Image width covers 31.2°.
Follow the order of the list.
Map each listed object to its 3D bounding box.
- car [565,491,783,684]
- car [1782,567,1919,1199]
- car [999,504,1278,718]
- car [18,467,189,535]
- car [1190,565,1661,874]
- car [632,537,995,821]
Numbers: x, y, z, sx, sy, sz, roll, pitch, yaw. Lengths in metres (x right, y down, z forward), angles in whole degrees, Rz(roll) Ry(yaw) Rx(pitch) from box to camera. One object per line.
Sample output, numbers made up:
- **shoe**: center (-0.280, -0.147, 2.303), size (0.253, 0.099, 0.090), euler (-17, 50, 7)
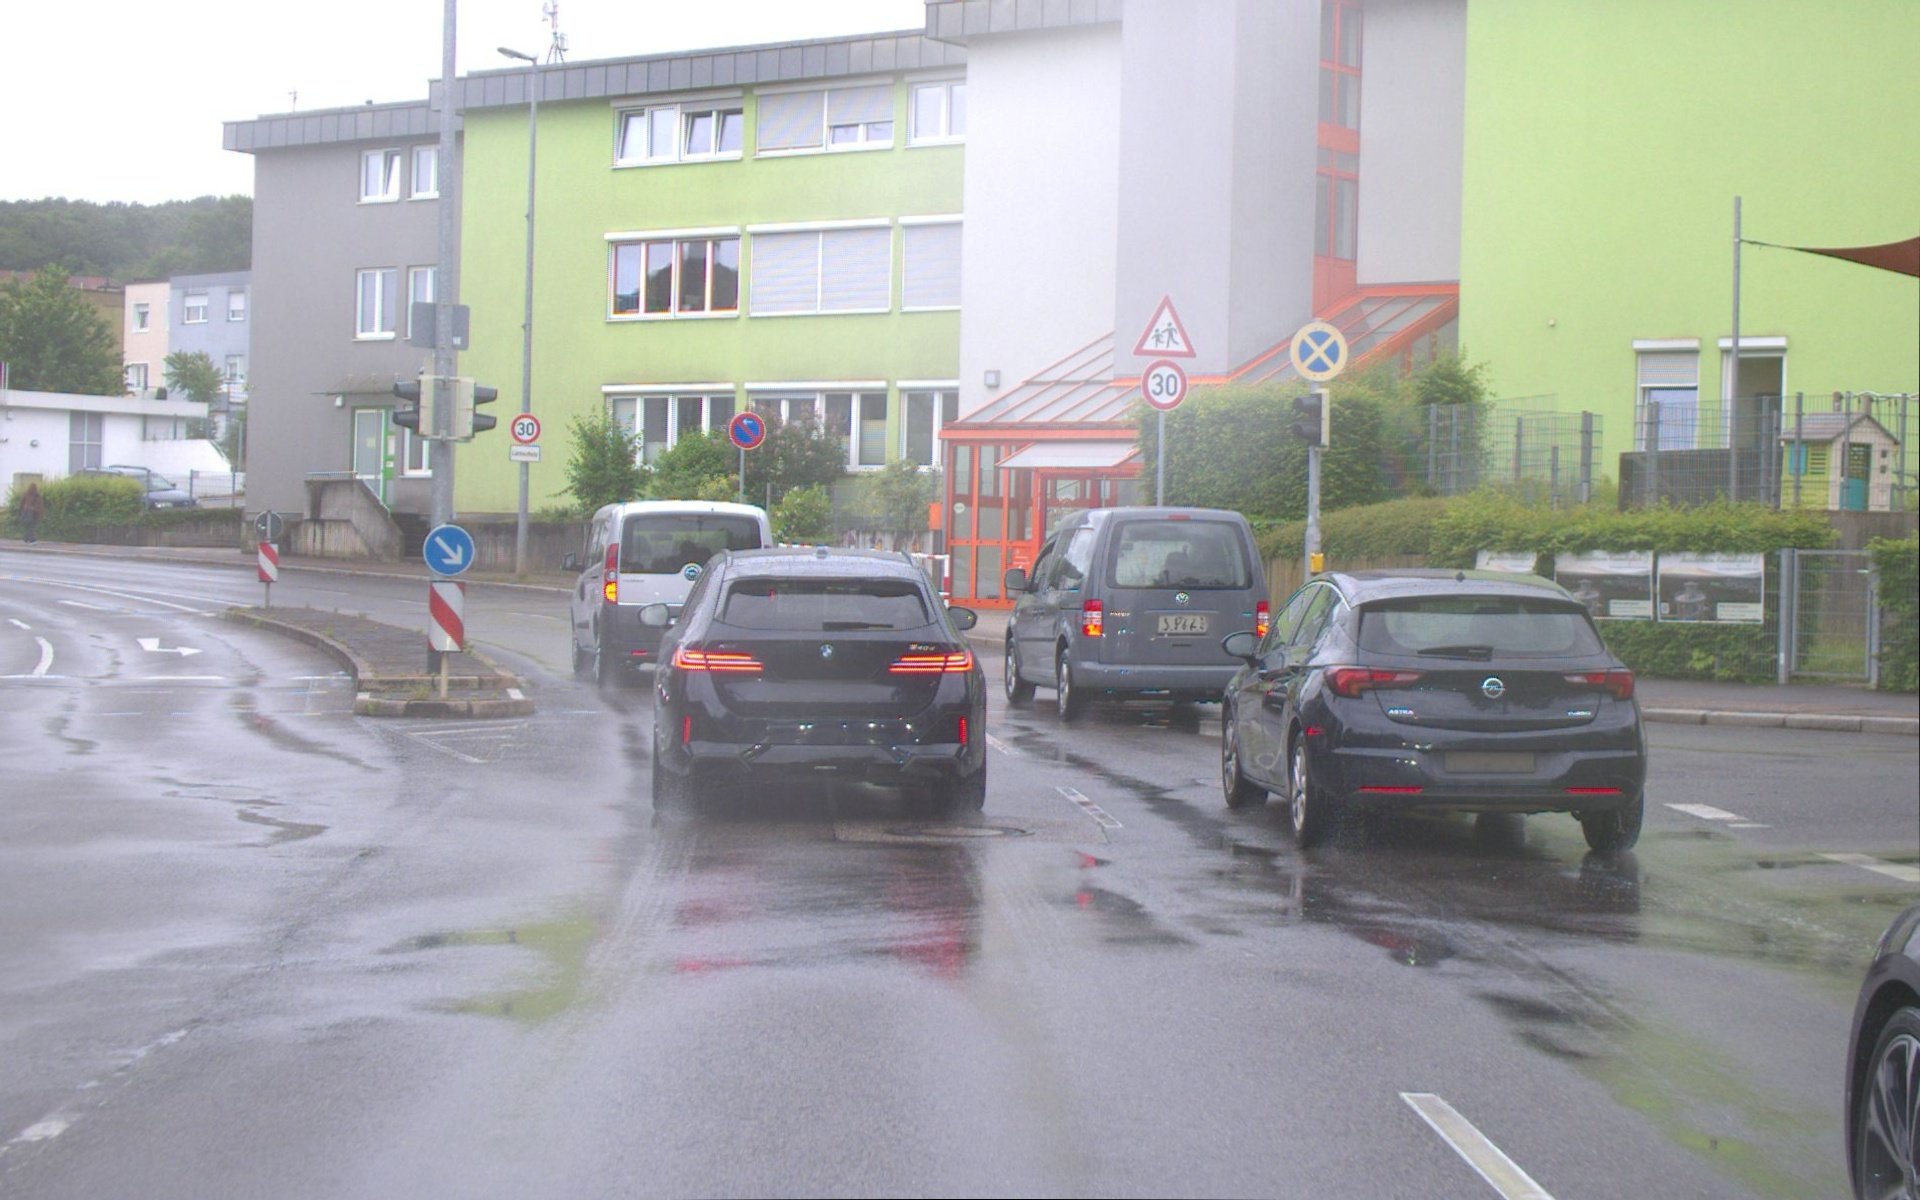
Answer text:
- **car**: center (-2.992, -0.184, 35.266), size (1.716, 1.838, 4.088), euler (-1, 2, -12)
- **car**: center (2.591, 0.719, 4.702), size (1.706, 1.422, 4.509), euler (1, 1, -2)
- **car**: center (1.497, 0.028, 30.315), size (1.782, 1.728, 4.088), euler (-1, 2, -7)
- **car**: center (-23.137, -2.668, 92.843), size (4.393, 1.766, 2.001), euler (-1, 1, -16)
- **car**: center (2.471, 0.580, 19.252), size (1.849, 1.481, 4.087), euler (0, 1, -3)
- **car**: center (-0.961, 0.397, 20.418), size (1.682, 1.501, 3.775), euler (0, 1, -10)
